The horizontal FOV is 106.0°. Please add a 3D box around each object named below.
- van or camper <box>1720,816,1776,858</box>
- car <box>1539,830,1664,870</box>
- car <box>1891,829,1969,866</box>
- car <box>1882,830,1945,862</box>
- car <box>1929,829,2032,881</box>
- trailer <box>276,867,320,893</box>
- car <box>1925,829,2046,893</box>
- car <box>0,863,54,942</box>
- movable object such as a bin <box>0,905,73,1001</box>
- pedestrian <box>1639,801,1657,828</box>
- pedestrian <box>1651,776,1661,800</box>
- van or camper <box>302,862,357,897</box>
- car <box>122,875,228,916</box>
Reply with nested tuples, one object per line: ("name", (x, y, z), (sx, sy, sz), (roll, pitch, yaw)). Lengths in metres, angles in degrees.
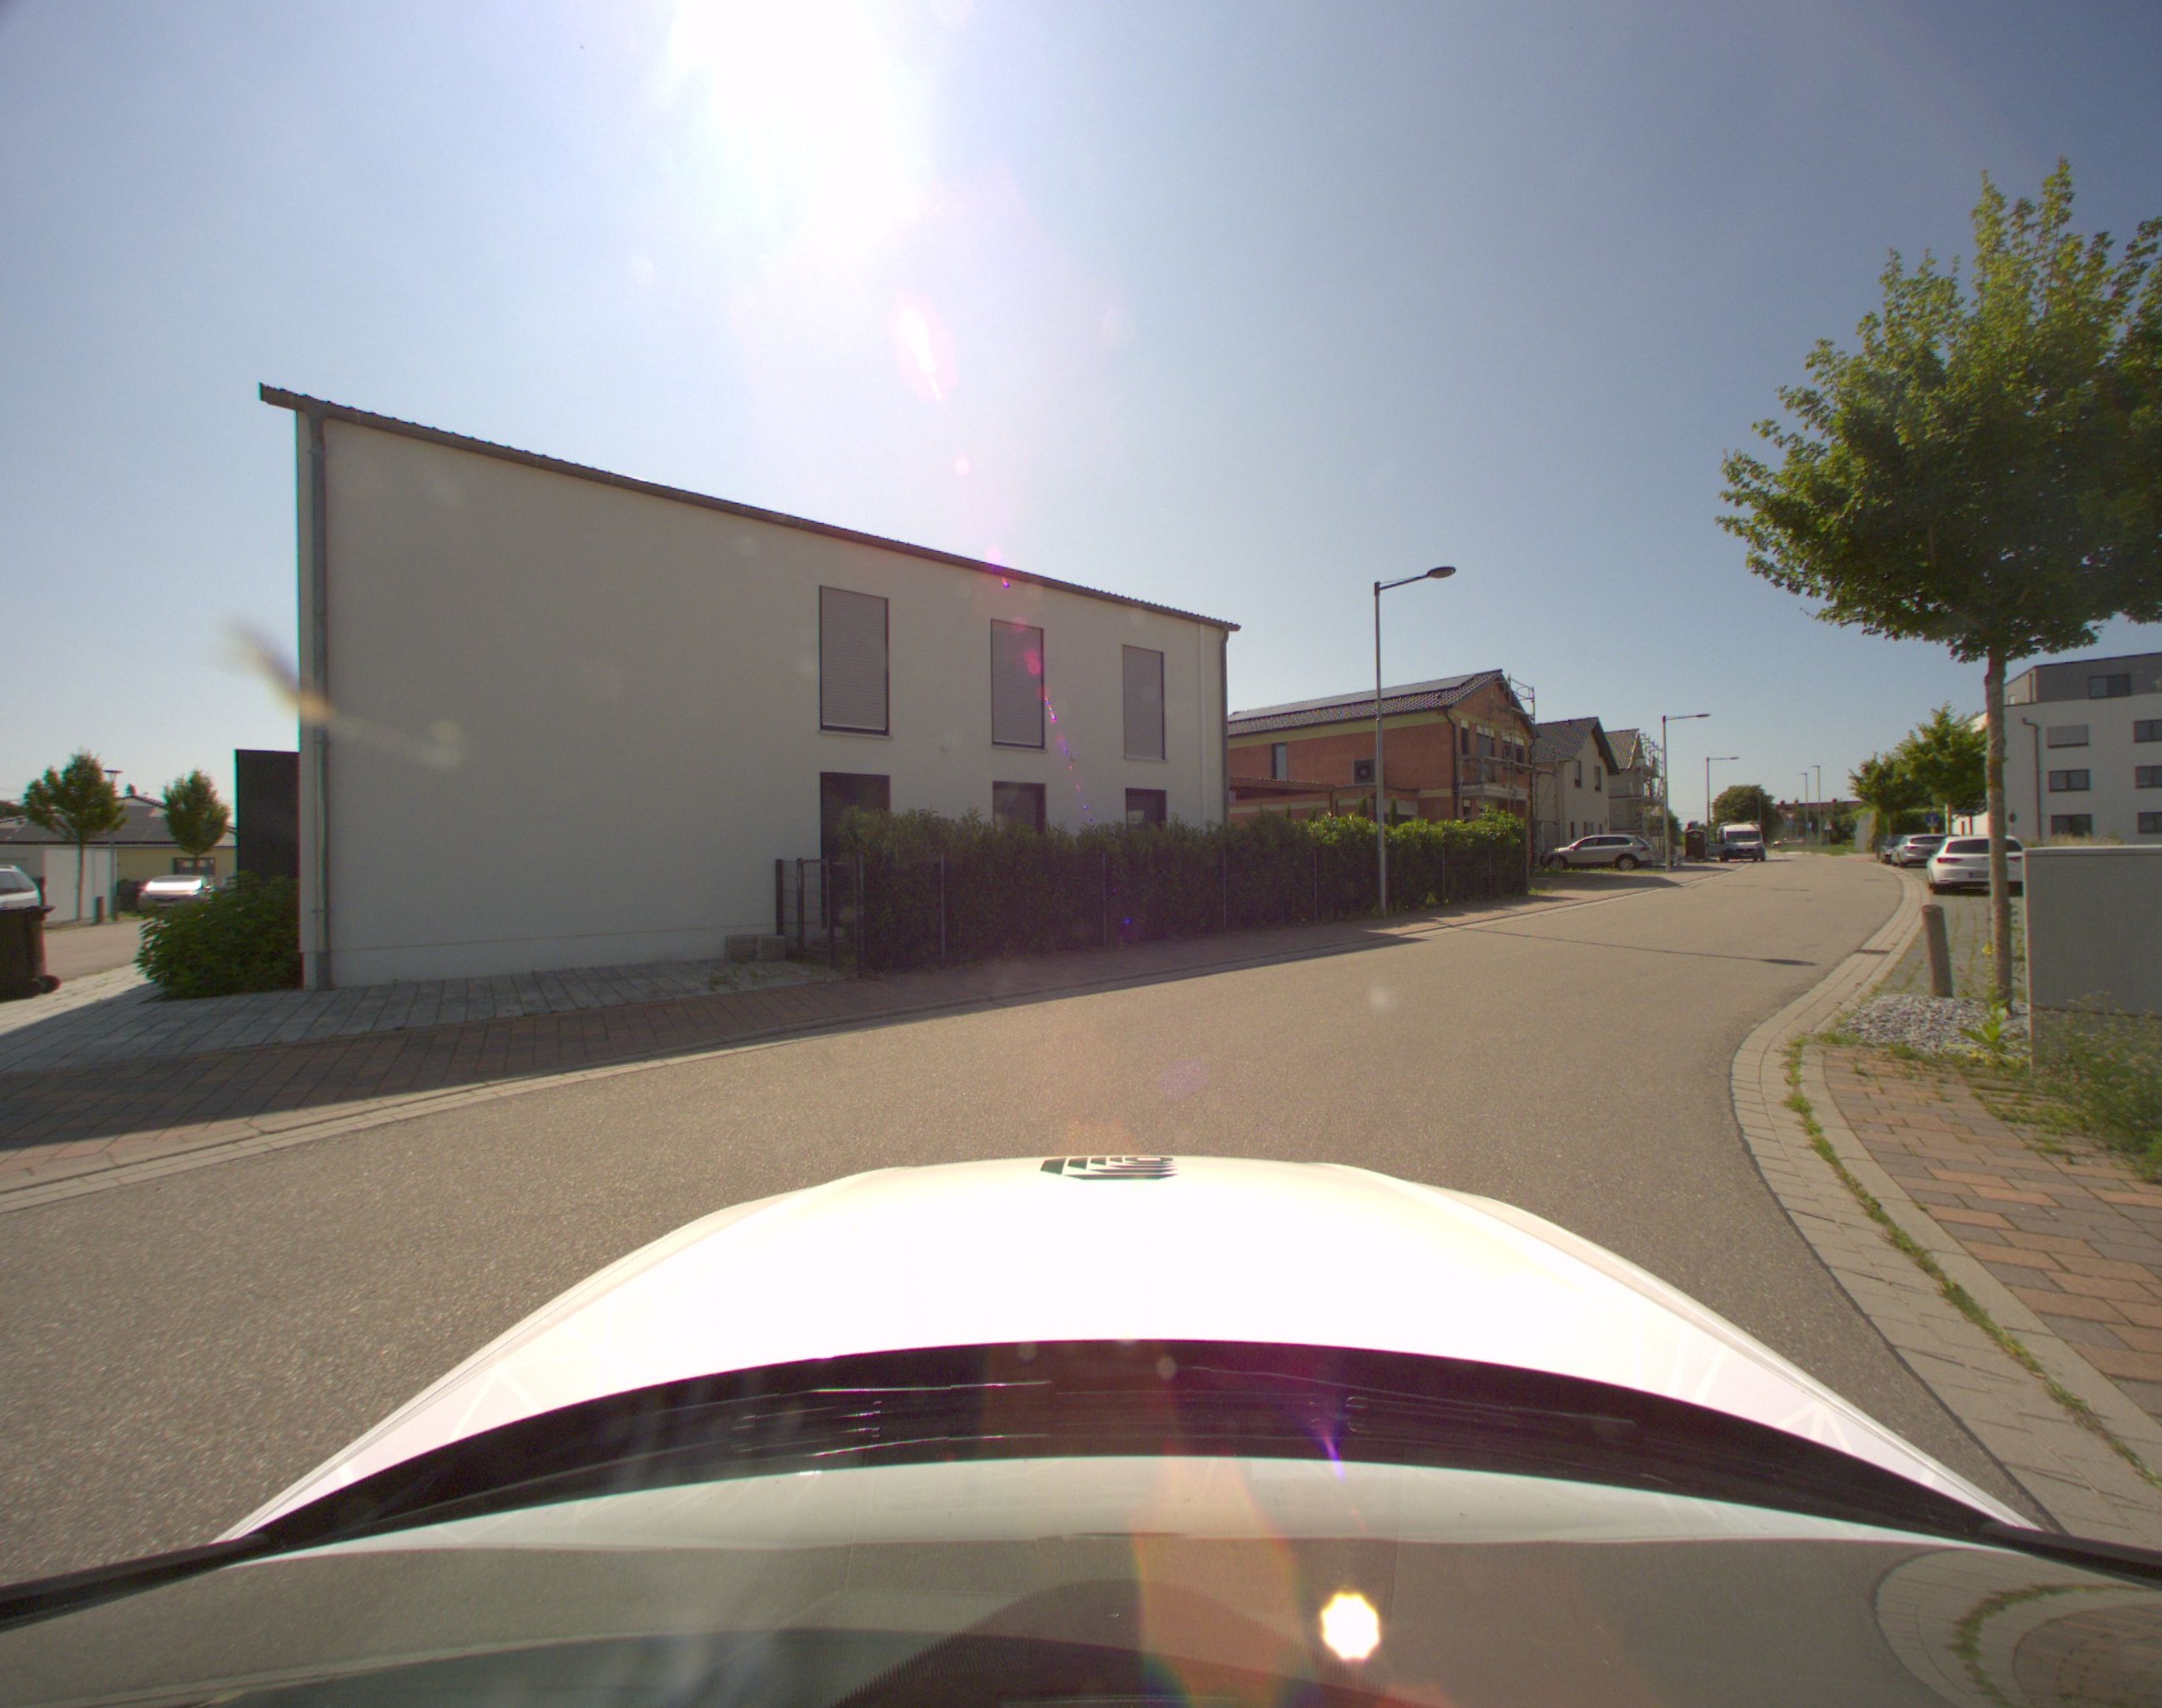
("van or camper", (43.386, -1.035, 53.113), (2.250, 2.553, 6.408), (-2, -1, 35))
("car", (23.205, -0.147, 36.389), (4.382, 1.612, 2.012), (-2, 0, 41))
("car", (38.478, -0.328, 37.036), (1.900, 1.511, 5.328), (-3, -1, 41))
("car", (42.480, -0.418, 41.649), (1.900, 1.470, 5.171), (-3, -1, 43))
("car", (27.630, -0.005, 25.150), (1.763, 1.426, 4.541), (-3, -1, 44))
("trailer", (-49.218, 1.627, 51.248), (1.639, 1.614, 2.533), (1, -2, -36))
("car", (22.956, 0.154, 20.828), (4.591, 1.456, 1.797), (-1, -1, -45))
("car", (-25.799, 1.110, 18.400), (2.009, 1.790, 4.595), (1, -2, -36))
("movable object such as a bin", (-11.196, 1.036, 8.575), (0.604, 0.949, 0.495), (-2, 0, -37))
("pedestrian", (36.850, -2.569, 52.952), (0.744, 1.680, 0.578), (0, -2, -1))
("pedestrian", (39.802, -4.563, 56.353), (0.556, 1.500, 0.753), (-2, -3, 36))
("van or camper", (-53.004, 1.809, 57.518), (2.281, 2.411, 4.791), (1, -2, -36))
("car", (-37.399, 1.675, 33.776), (2.009, 1.614, 4.434), (1, -2, -36))
